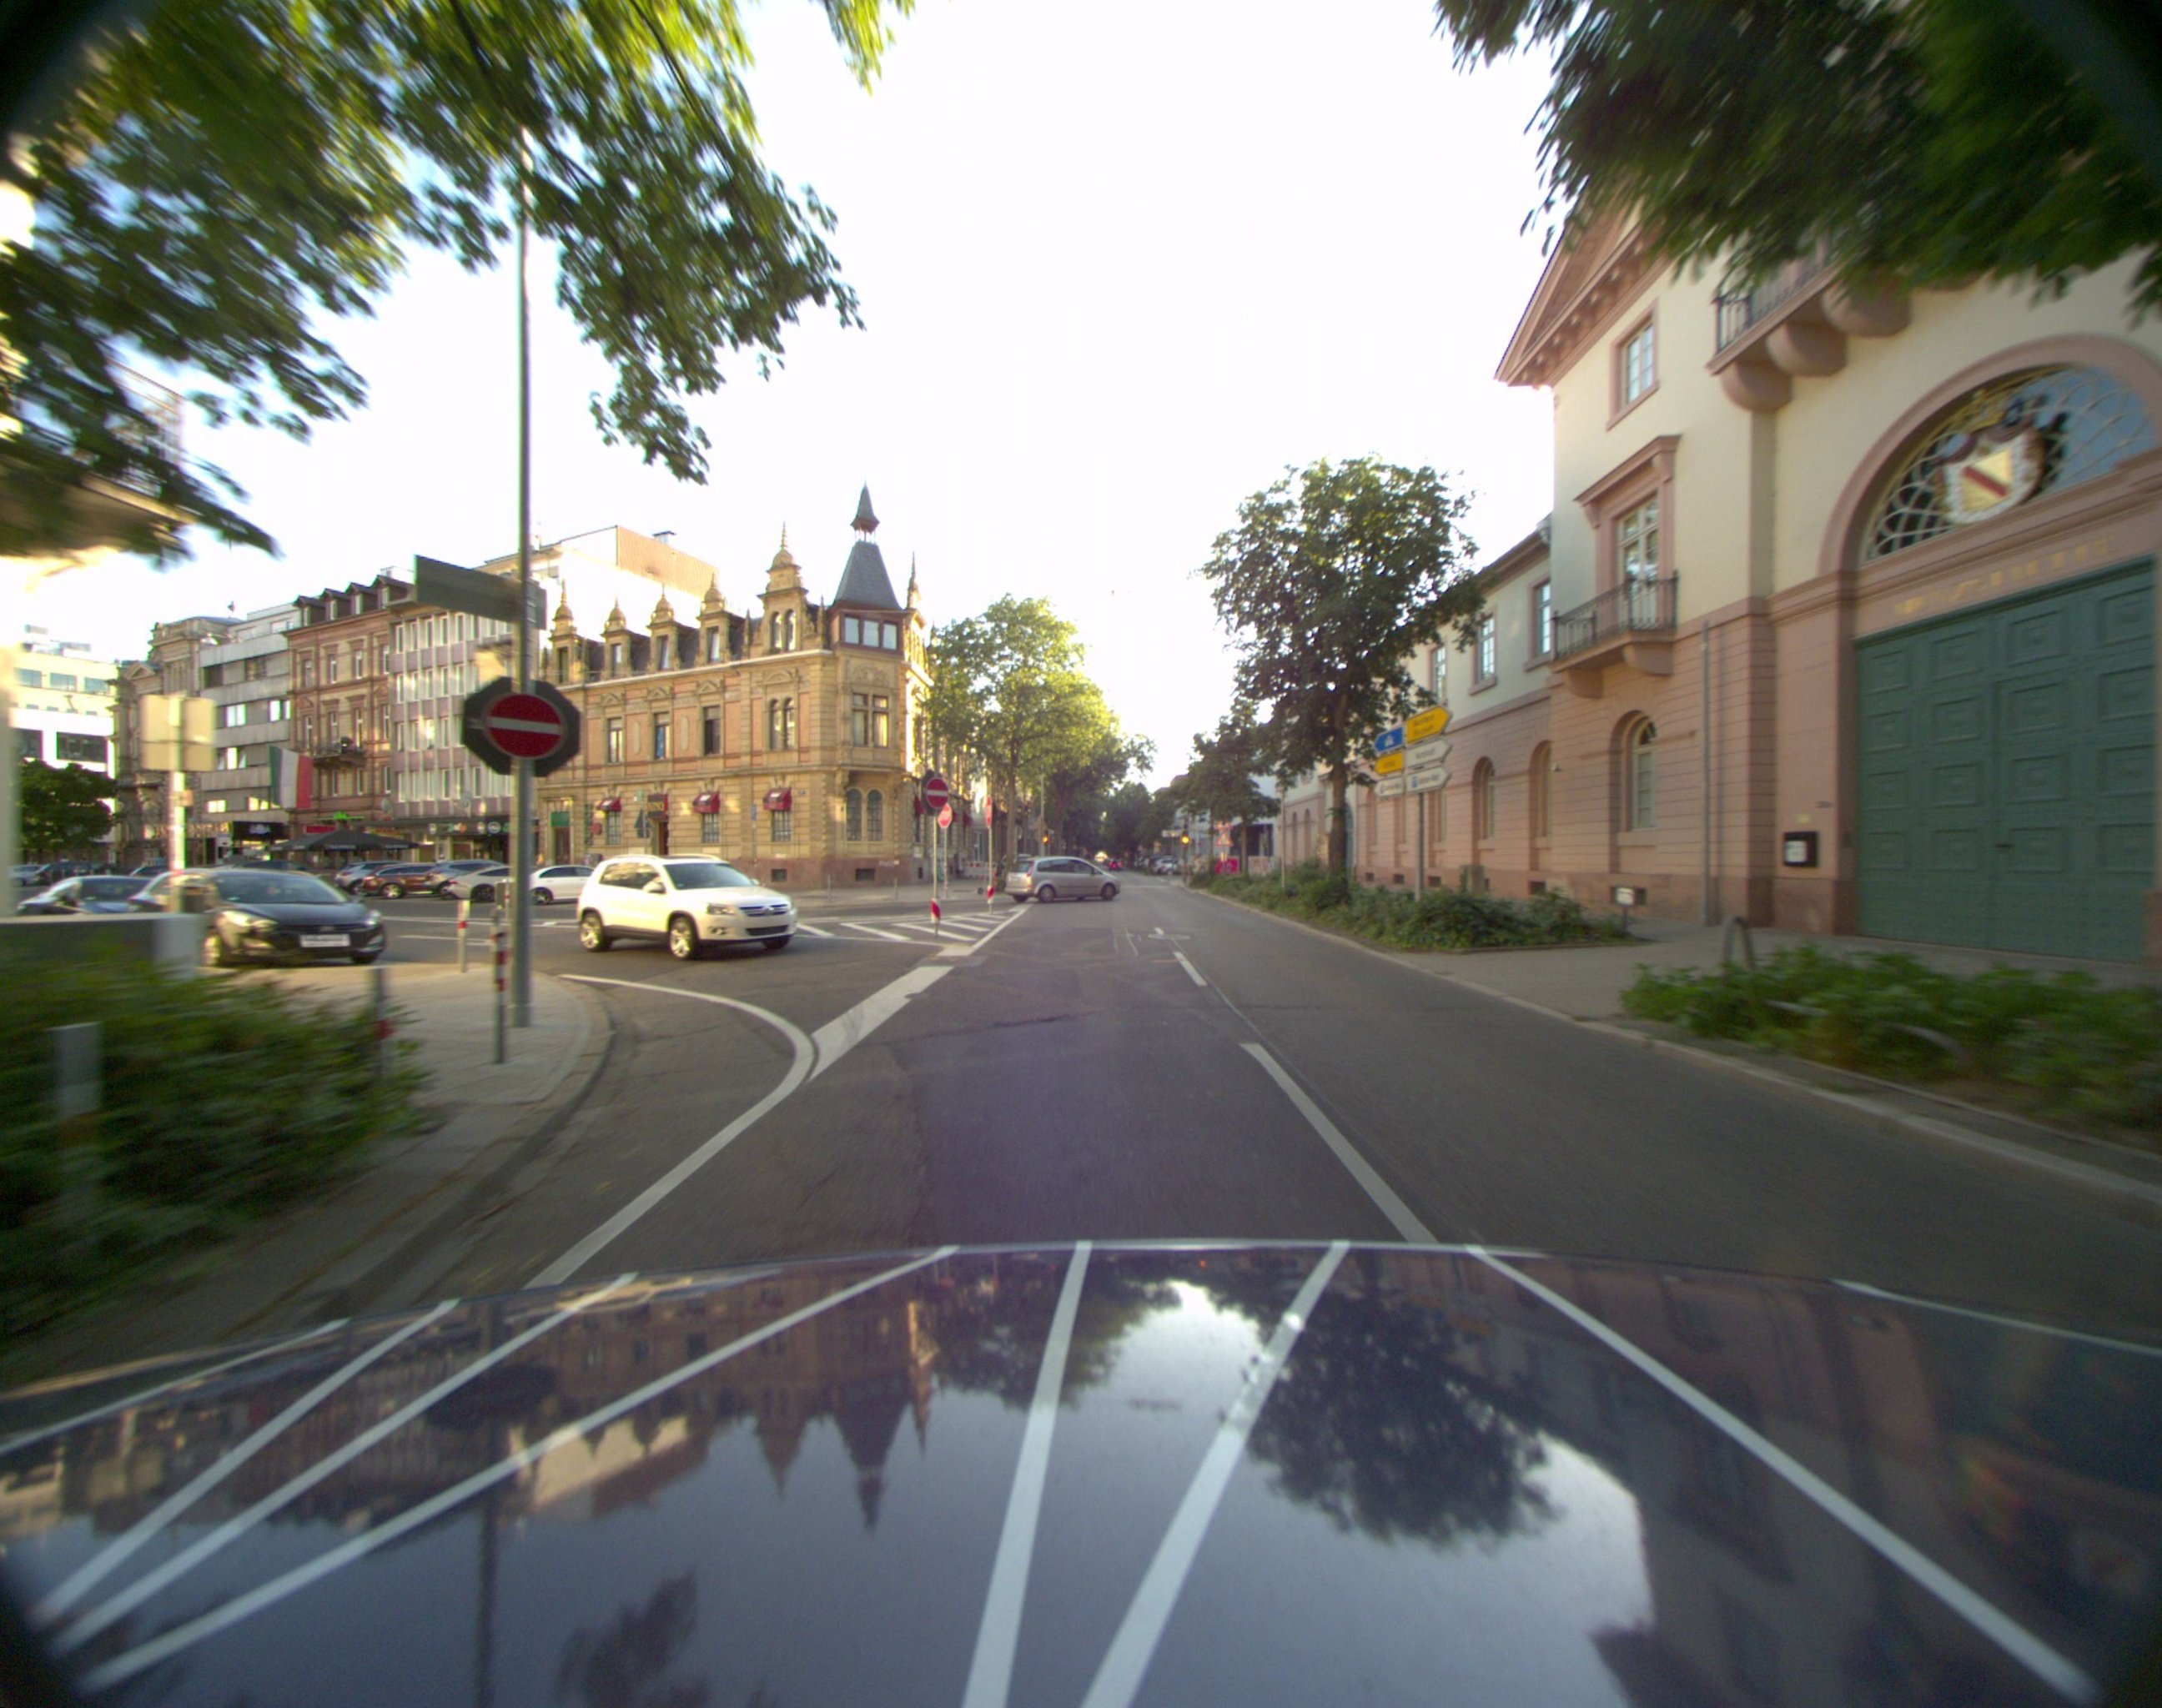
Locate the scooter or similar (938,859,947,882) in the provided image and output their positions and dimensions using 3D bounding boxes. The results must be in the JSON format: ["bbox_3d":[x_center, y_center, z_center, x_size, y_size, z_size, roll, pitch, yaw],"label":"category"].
[{"bbox_3d":[-7.260,0.846,39.882,0.251,1.187,1.093,0,0,2],"label":"scooter or similar"}]

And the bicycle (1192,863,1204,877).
[{"bbox_3d":[8.675,1.167,56.424,0.778,0.967,2.025,-1,0,4],"label":"bicycle"}]

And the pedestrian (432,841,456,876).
[{"bbox_3d":[-32.248,0.217,38.468,0.734,1.753,0.635,0,1,23],"label":"pedestrian"}]

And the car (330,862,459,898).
[{"bbox_3d":[-31.453,1.135,34.914,1.775,1.551,4.148,0,0,37],"label":"car"}]

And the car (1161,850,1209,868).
[{"bbox_3d":[8.704,0.421,63.553,3.749,1.303,1.844,-2,0,1],"label":"car"}]

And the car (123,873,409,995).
[{"bbox_3d":[-12.622,1.084,11.735,4.412,1.533,1.870,0,0,27],"label":"car"}]

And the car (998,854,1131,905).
[{"bbox_3d":[-0.539,0.842,26.789,4.361,1.644,1.881,0,0,-36],"label":"car"}]

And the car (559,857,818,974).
[{"bbox_3d":[-6.676,0.899,12.852,4.192,1.646,1.899,0,2,30],"label":"car"}]

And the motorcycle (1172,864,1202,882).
[{"bbox_3d":[8.468,1.483,60.586,2.150,1.411,0.969,0,1,23],"label":"motorcycle"}]

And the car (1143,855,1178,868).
[{"bbox_3d":[9.298,0.879,88.940,3.854,1.442,1.855,-1,-1,1],"label":"car"}]

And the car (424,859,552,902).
[{"bbox_3d":[-24.909,1.076,32.045,4.147,1.715,1.775,1,0,-38],"label":"car"}]

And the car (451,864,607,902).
[{"bbox_3d":[-22.202,1.132,30.730,4.986,1.449,1.871,1,-2,-38],"label":"car"}]

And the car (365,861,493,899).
[{"bbox_3d":[-28.307,1.094,33.159,4.147,1.531,1.775,1,0,-38],"label":"car"}]

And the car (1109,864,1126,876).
[{"bbox_3d":[4.980,2.243,105.254,1.882,1.540,4.273,1,0,-4],"label":"car"}]

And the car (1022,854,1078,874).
[{"bbox_3d":[-2.479,0.767,60.867,4.233,1.551,1.971,0,0,5],"label":"car"}]

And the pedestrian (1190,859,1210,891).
[{"bbox_3d":[6.750,1.195,43.094,0.791,1.780,0.772,-3,-1,29],"label":"pedestrian"}]

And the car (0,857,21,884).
[{"bbox_3d":[-82.649,1.263,56.563,1.867,2.002,4.007,0,0,25],"label":"car"}]

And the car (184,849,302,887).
[{"bbox_3d":[-43.624,0.695,39.630,1.994,1.780,3.866,-1,1,36],"label":"car"}]

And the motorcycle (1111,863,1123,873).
[{"bbox_3d":[4.265,1.672,90.427,1.315,1.084,2.397,3,0,2],"label":"motorcycle"}]

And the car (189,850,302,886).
[{"bbox_3d":[-45.537,0.724,41.476,1.994,1.780,3.866,-1,1,36],"label":"car"}]

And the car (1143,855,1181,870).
[{"bbox_3d":[8.939,0.920,83.902,4.037,1.485,1.781,-2,0,5],"label":"car"}]

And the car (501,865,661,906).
[{"bbox_3d":[-19.174,1.160,29.282,5.000,1.449,1.982,1,0,-36],"label":"car"}]

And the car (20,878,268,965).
[{"bbox_3d":[-17.204,1.150,13.937,4.506,1.361,1.779,0,-3,25],"label":"car"}]

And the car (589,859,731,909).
[{"bbox_3d":[-15.694,1.048,28.442,4.286,1.405,1.708,-5,4,-41],"label":"car"}]

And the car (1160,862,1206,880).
[{"bbox_3d":[8.833,1.489,66.273,3.751,1.450,1.735,-2,0,1],"label":"car"}]

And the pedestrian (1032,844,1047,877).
[{"bbox_3d":[-2.414,0.361,43.737,0.771,1.877,0.792,0,0,-10],"label":"pedestrian"}]

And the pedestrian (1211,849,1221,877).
[{"bbox_3d":[8.835,0.574,49.781,0.555,1.839,0.612,0,1,16],"label":"pedestrian"}]

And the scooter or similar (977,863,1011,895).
[{"bbox_3d":[-3.480,0.979,30.368,1.277,1.236,0.505,-1,0,-42],"label":"scooter or similar"}]

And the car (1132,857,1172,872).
[{"bbox_3d":[9.232,1.364,99.488,5.002,1.979,2.190,0,0,0],"label":"car"}]

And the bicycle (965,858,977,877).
[{"bbox_3d":[-7.020,0.834,48.534,0.386,1.204,1.726,0,0,3],"label":"bicycle"}]

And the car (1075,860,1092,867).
[{"bbox_3d":[0.467,2.066,158.007,3.552,1.411,1.590,0,0,-1],"label":"car"}]

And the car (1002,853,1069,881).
[{"bbox_3d":[-3.159,0.880,53.269,4.552,1.903,1.950,1,0,-1],"label":"car"}]

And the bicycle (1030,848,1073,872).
[{"bbox_3d":[-2.171,0.430,55.946,3.122,1.653,0.658,-1,0,-3],"label":"bicycle"}]

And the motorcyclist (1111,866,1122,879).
[{"bbox_3d":[4.258,2.210,90.074,1.283,1.582,1.077,0,0,2],"label":"motorcyclist"}]

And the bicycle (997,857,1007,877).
[{"bbox_3d":[-5.077,0.822,48.733,0.386,1.228,1.726,0,0,3],"label":"bicycle"}]
